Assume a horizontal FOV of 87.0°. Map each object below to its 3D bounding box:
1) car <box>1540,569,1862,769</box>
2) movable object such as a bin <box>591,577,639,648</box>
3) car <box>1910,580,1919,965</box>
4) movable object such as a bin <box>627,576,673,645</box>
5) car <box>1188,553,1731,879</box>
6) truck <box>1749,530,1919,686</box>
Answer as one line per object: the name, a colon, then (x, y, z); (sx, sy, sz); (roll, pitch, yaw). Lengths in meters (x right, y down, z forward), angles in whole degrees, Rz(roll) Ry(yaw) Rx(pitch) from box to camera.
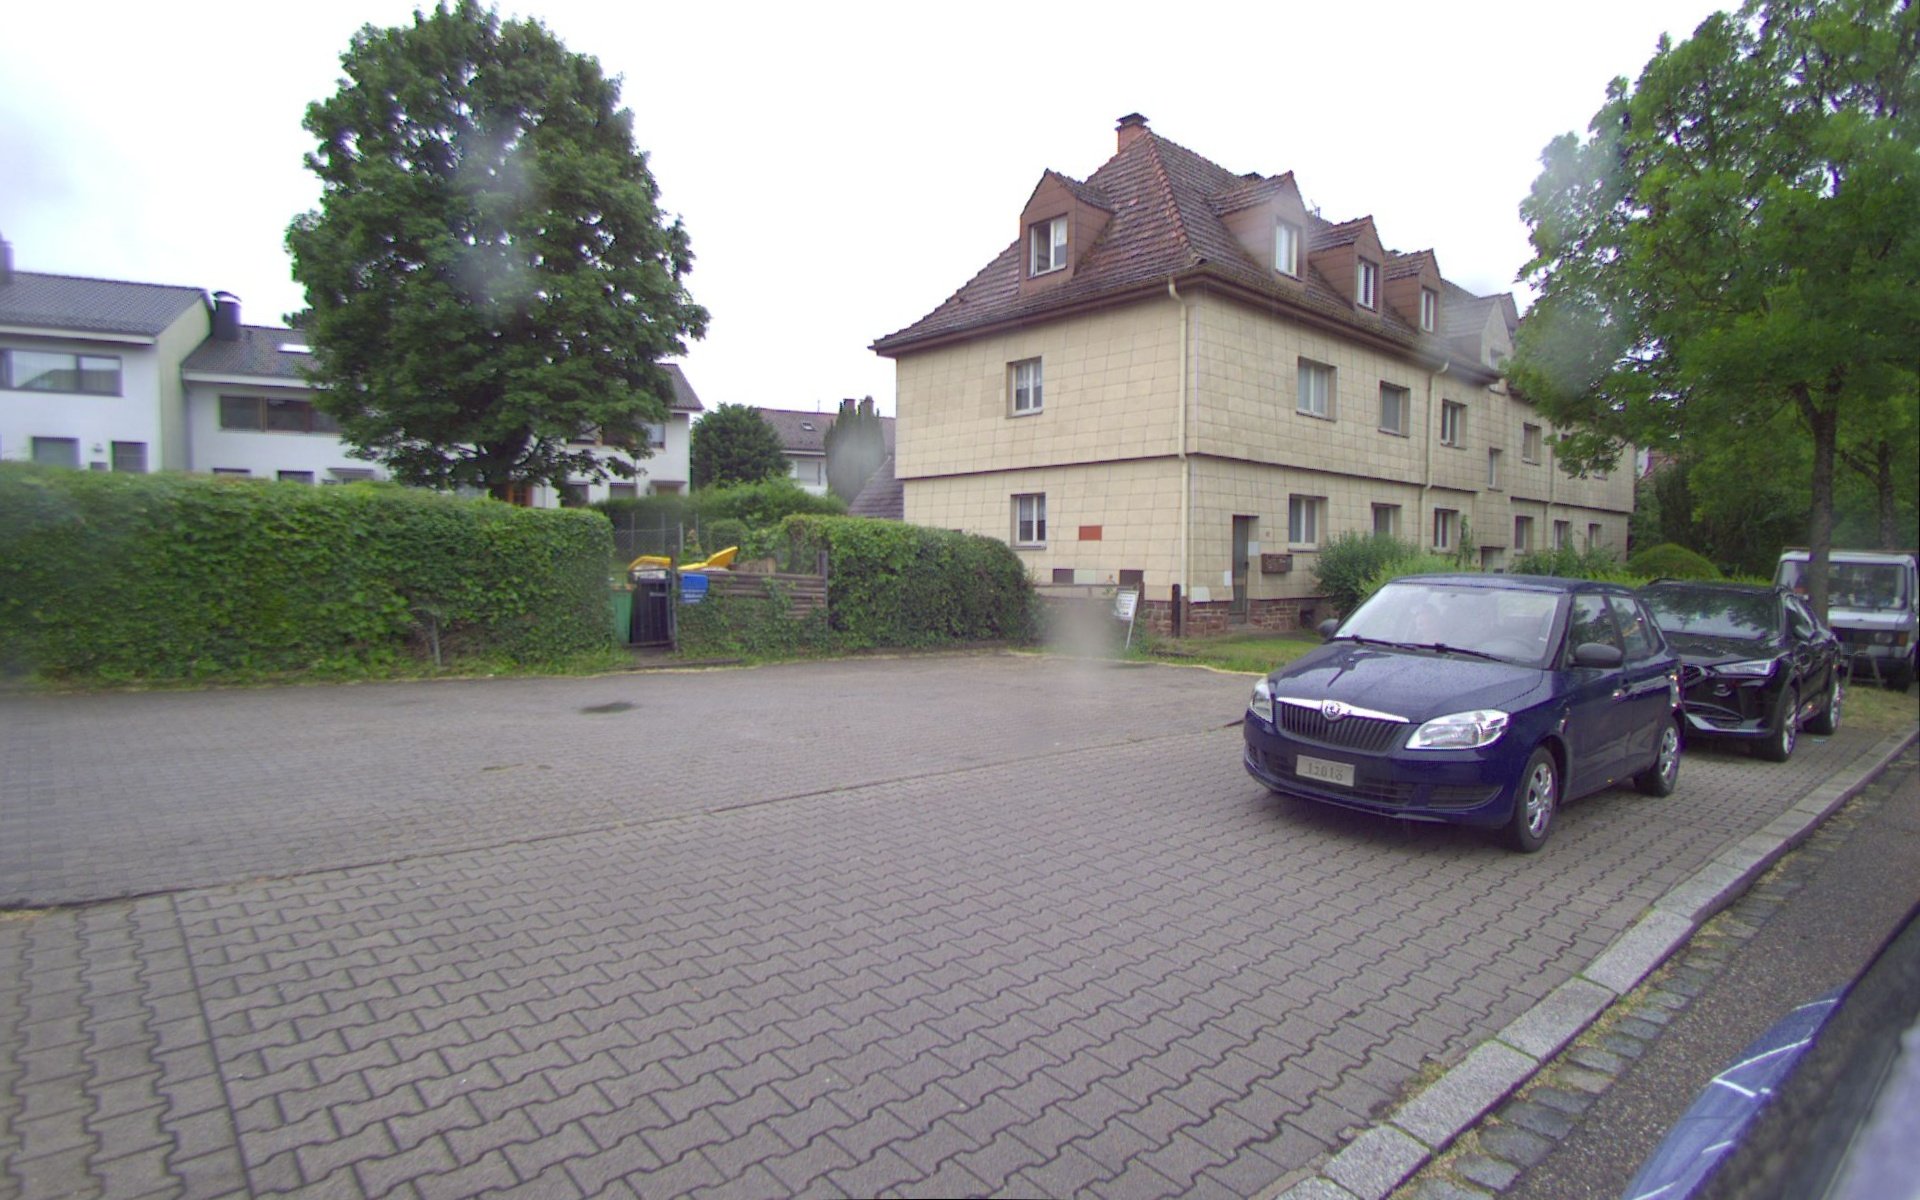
car: (7.286, 0.492, 9.812); (3.932, 1.481, 1.719); (-1, 4, -42)
movable object such as a bin: (-4.807, 0.165, 14.089); (0.441, 0.954, 0.539); (0, 0, -45)
car: (5.624, 0.691, 4.294); (4.240, 1.548, 1.881); (0, -1, -41)
movable object such as a bin: (-4.431, 0.146, 14.459); (0.441, 0.954, 0.539); (0, 0, -45)
car: (3.402, 0.484, 6.566); (3.930, 1.441, 1.719); (-1, 4, -41)
truck: (15.258, 0.082, 16.977); (5.653, 2.224, 1.998); (0, 2, -40)
